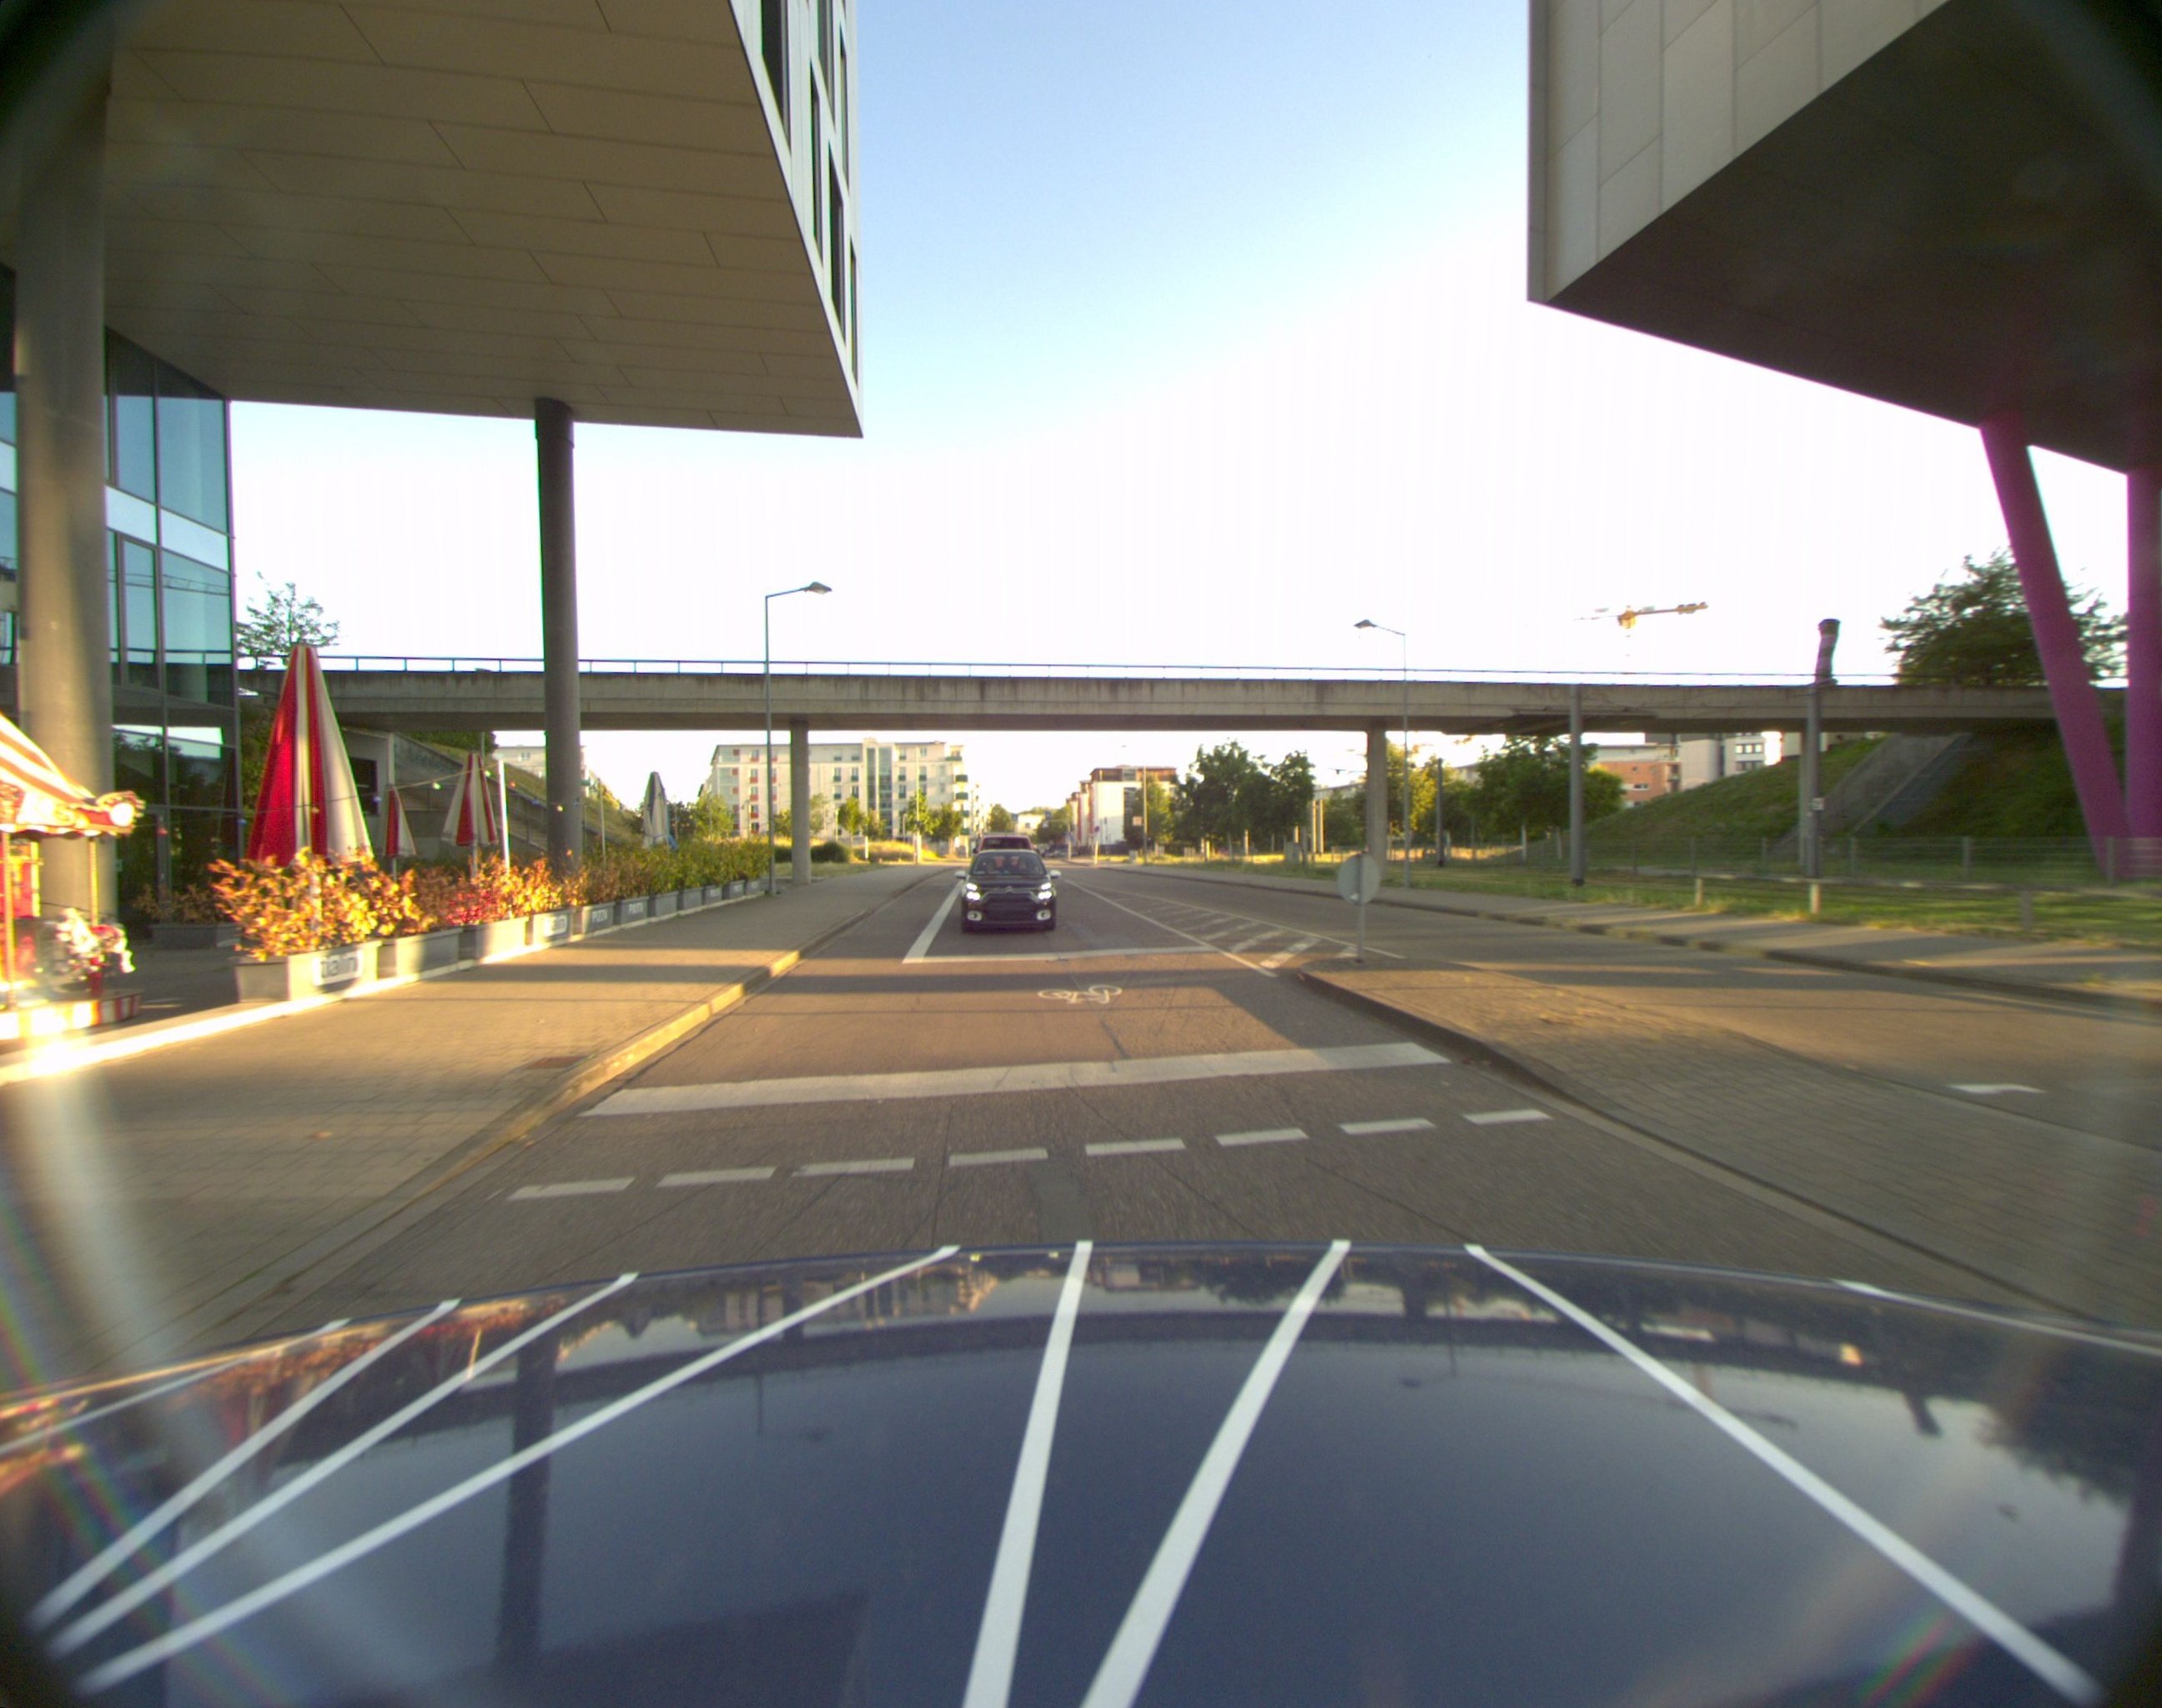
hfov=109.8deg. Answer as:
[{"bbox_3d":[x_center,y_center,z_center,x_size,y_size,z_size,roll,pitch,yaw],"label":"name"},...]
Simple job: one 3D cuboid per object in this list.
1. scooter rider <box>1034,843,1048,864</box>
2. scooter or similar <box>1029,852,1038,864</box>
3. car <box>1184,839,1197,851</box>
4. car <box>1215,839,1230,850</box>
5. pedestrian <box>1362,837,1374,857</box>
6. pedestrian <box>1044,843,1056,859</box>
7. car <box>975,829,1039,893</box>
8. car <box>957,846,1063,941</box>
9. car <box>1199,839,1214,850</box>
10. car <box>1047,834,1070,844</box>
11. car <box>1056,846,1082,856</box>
[{"bbox_3d":[-3.019,-0.025,57.902,0.897,1.568,0.712,0,2,10],"label":"scooter rider"},{"bbox_3d":[-3.623,0.319,58.019,0.552,0.890,0.723,1,2,10],"label":"scooter or similar"},{"bbox_3d":[16.739,-1.405,116.547,1.870,1.711,3.846,-1,1,6],"label":"car"},{"bbox_3d":[21.682,-1.474,116.438,1.870,1.711,3.846,-1,1,6],"label":"car"},{"bbox_3d":[22.752,-0.546,60.202,0.779,1.602,0.417,-1,2,6],"label":"pedestrian"},{"bbox_3d":[-4.027,-0.360,97.935,1.088,2.002,1.140,0,2,23],"label":"pedestrian"},{"bbox_3d":[-2.596,0.179,26.260,1.932,1.979,4.818,-2,1,-7],"label":"car"},{"bbox_3d":[-1.466,0.646,14.884,1.761,1.543,4.068,-1,1,-8],"label":"car"},{"bbox_3d":[19.154,-1.440,116.438,1.870,1.711,3.845,-1,1,3],"label":"car"},{"bbox_3d":[-4.826,-3.180,161.343,4.748,2.002,1.998,-1,2,-9],"label":"car"},{"bbox_3d":[-2.117,-0.498,131.324,4.389,1.551,1.838,-1,2,-4],"label":"car"}]
